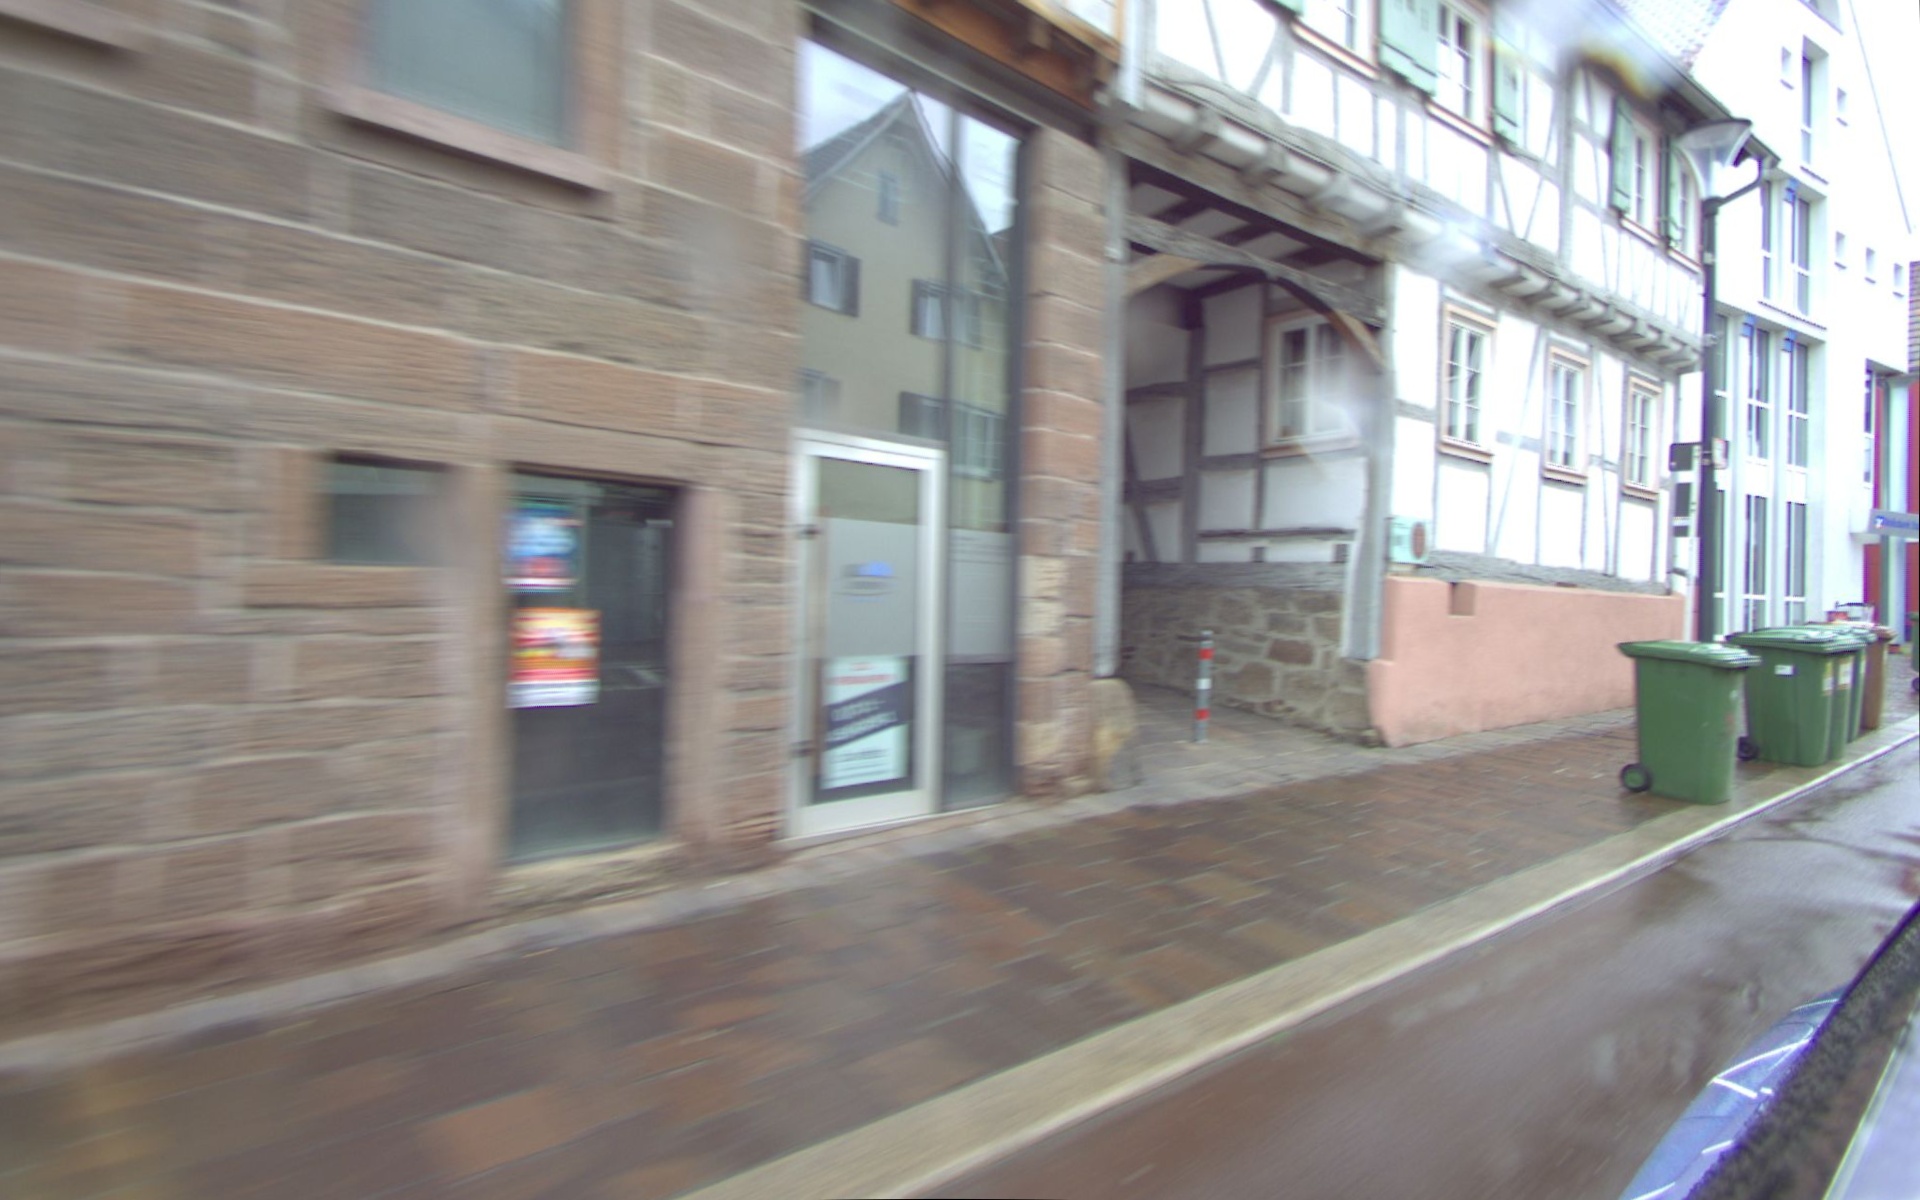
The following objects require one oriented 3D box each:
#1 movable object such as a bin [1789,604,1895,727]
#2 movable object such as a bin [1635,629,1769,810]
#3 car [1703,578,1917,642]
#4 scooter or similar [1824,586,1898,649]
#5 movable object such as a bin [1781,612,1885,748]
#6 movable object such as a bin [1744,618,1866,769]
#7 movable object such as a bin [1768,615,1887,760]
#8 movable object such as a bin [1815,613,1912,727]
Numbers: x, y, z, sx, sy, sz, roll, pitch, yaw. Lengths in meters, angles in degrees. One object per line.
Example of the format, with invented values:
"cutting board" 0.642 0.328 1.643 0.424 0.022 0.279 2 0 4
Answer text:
"movable object such as a bin" 8.501 0.602 9.755 0.577 1.094 0.671 -2 2 -39
"movable object such as a bin" 5.151 0.795 7.026 0.588 1.142 0.611 -1 1 -38
"car" 22.973 0.230 27.519 1.872 1.533 4.007 2 1 -27
"scooter or similar" 17.461 0.319 19.610 1.417 1.160 0.668 -1 1 -31
"movable object such as a bin" 8.042 0.709 9.324 0.621 1.161 0.639 -1 1 -40
"movable object such as a bin" 7.012 0.742 8.408 0.569 1.161 0.640 -1 1 -33
"movable object such as a bin" 7.502 0.729 8.761 0.592 1.161 0.640 -1 1 -33
"movable object such as a bin" 9.395 0.704 10.527 0.639 1.110 0.679 0 0 -41
